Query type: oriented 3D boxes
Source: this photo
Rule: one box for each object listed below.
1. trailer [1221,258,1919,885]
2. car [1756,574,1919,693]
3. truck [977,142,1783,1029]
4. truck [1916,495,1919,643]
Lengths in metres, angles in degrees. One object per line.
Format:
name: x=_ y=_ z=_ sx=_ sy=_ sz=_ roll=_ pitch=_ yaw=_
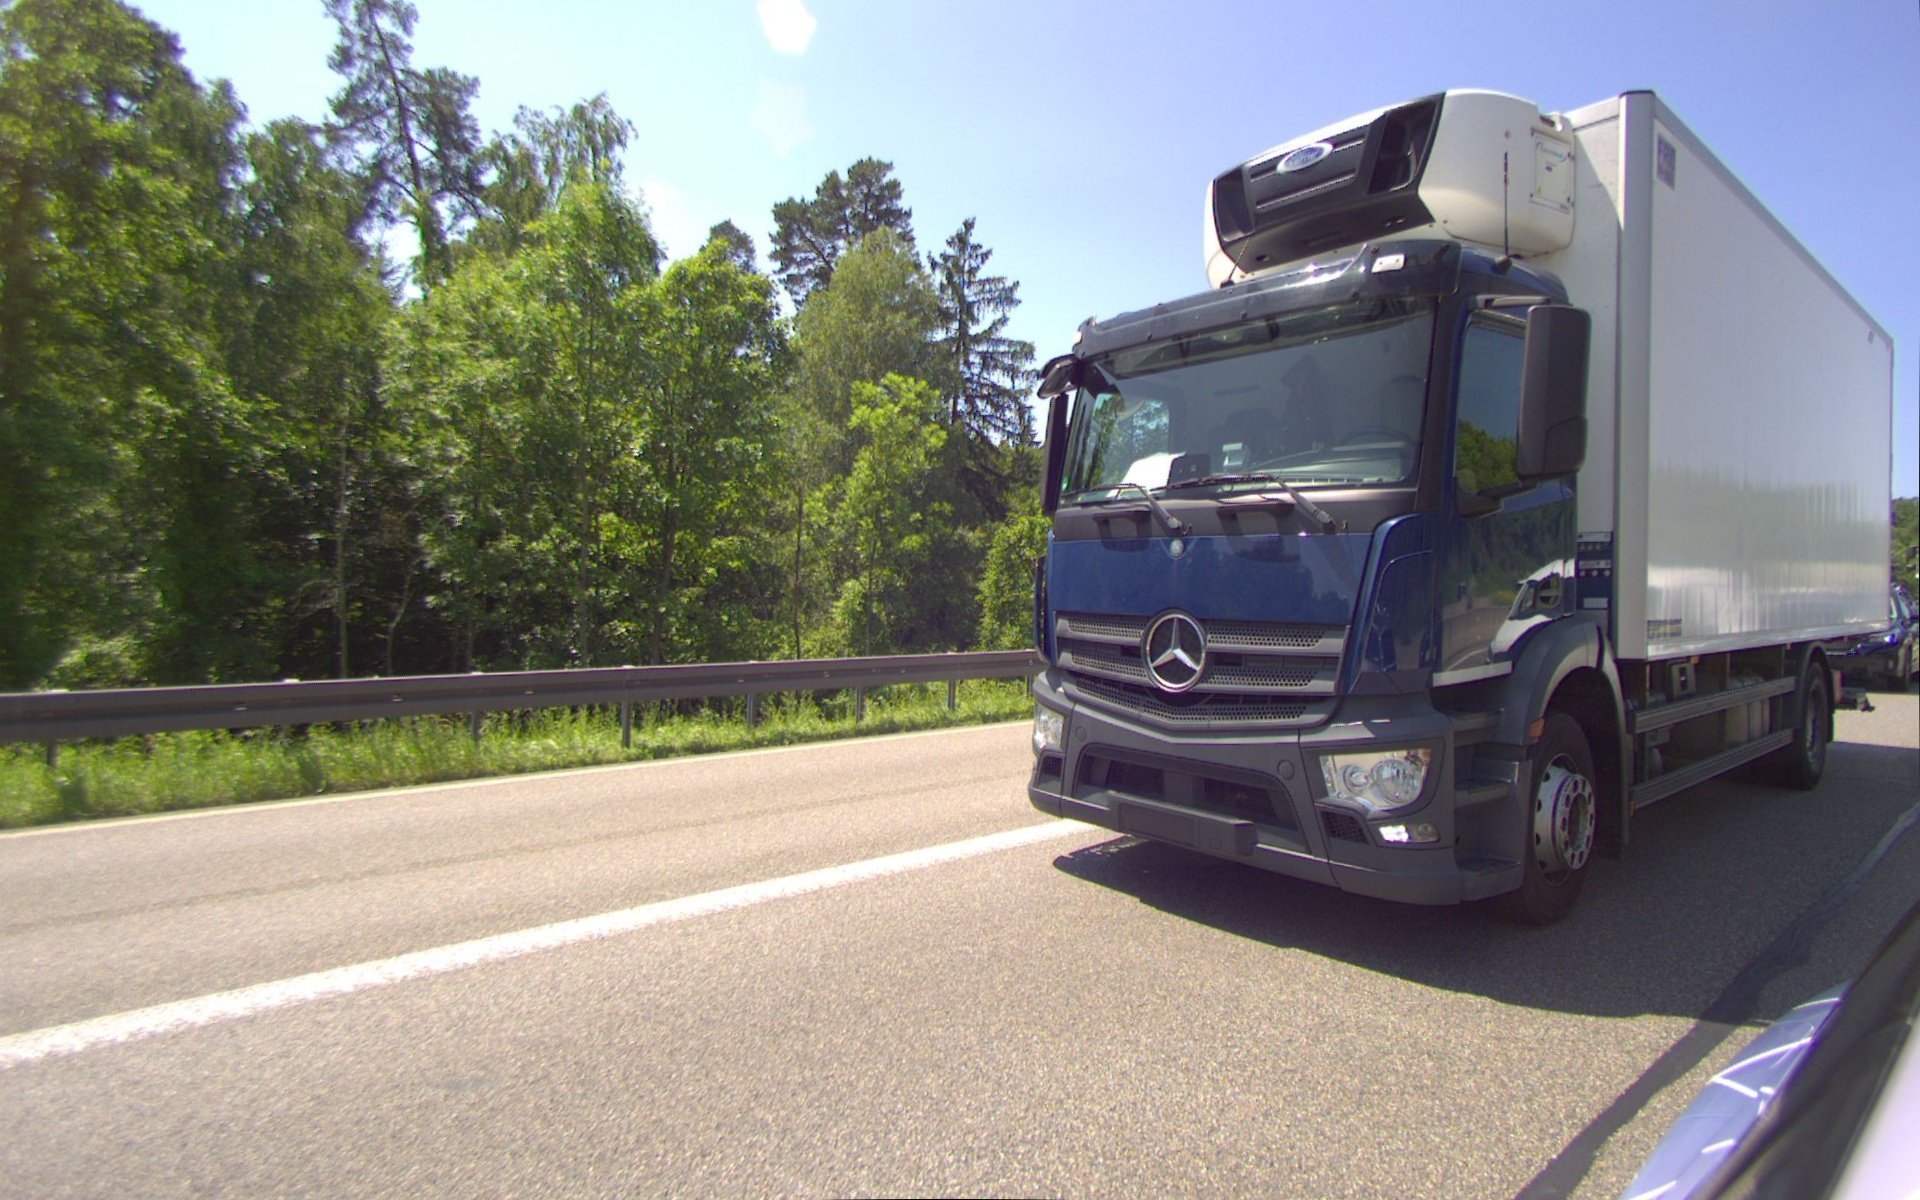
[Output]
trailer: x=5.532 y=-0.184 z=8.187 sx=7.740 sy=2.935 sz=2.561 roll=-1 pitch=1 yaw=-39
car: x=15.318 y=0.439 z=17.297 sx=4.534 sy=1.713 sz=1.996 roll=-2 pitch=3 yaw=-43
truck: x=2.449 y=-0.118 z=5.673 sx=4.031 sy=2.976 sz=2.562 roll=-2 pitch=2 yaw=-39
truck: x=30.491 y=-0.948 z=29.643 sx=7.204 sy=4.135 sz=2.765 roll=-2 pitch=1 yaw=-40
